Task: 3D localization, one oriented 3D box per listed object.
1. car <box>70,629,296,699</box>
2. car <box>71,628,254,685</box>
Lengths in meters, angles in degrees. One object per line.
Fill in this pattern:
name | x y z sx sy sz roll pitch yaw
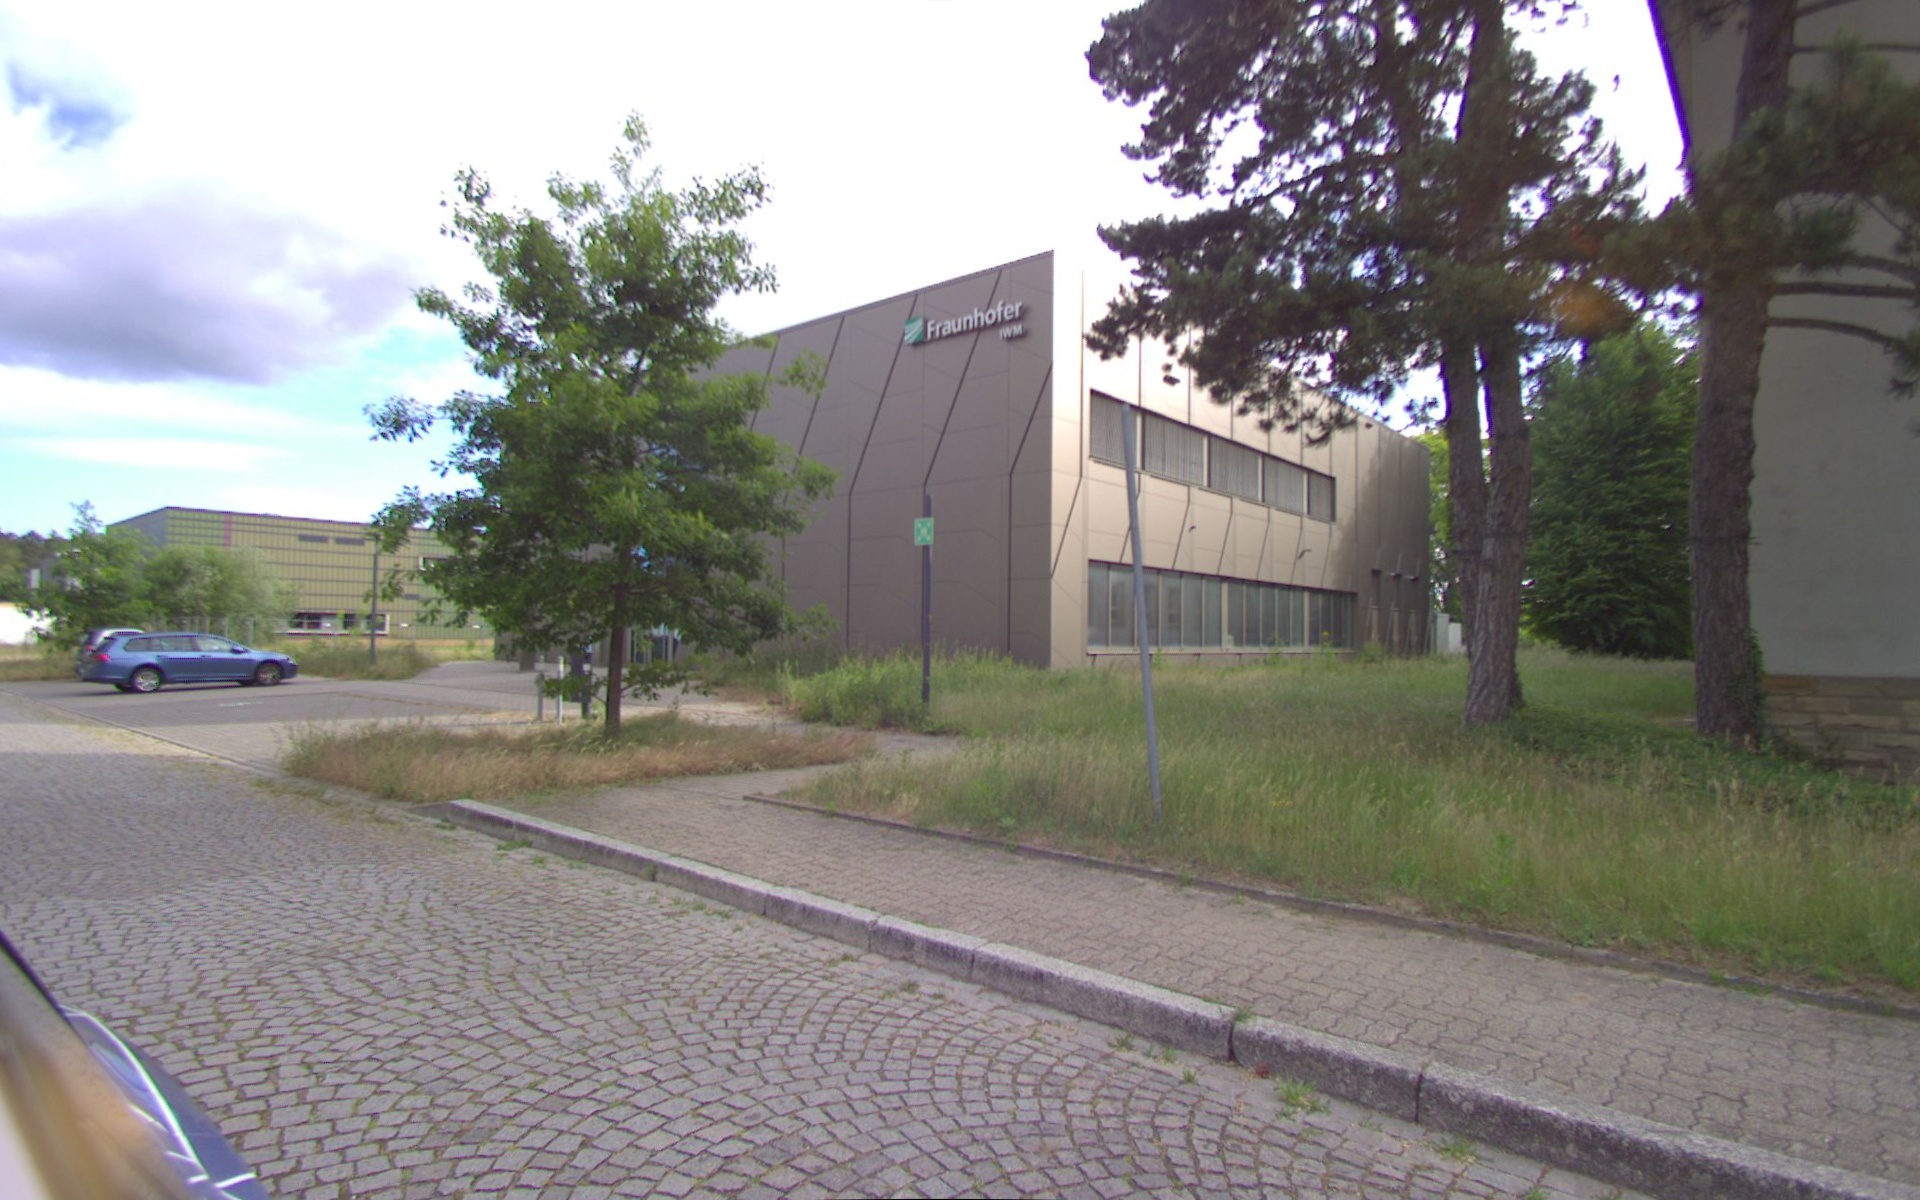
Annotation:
car | -19.872 1.569 26.060 1.714 1.522 4.351 -1 -1 37
car | -24.804 1.700 31.566 4.340 1.557 1.843 0 -1 -43
